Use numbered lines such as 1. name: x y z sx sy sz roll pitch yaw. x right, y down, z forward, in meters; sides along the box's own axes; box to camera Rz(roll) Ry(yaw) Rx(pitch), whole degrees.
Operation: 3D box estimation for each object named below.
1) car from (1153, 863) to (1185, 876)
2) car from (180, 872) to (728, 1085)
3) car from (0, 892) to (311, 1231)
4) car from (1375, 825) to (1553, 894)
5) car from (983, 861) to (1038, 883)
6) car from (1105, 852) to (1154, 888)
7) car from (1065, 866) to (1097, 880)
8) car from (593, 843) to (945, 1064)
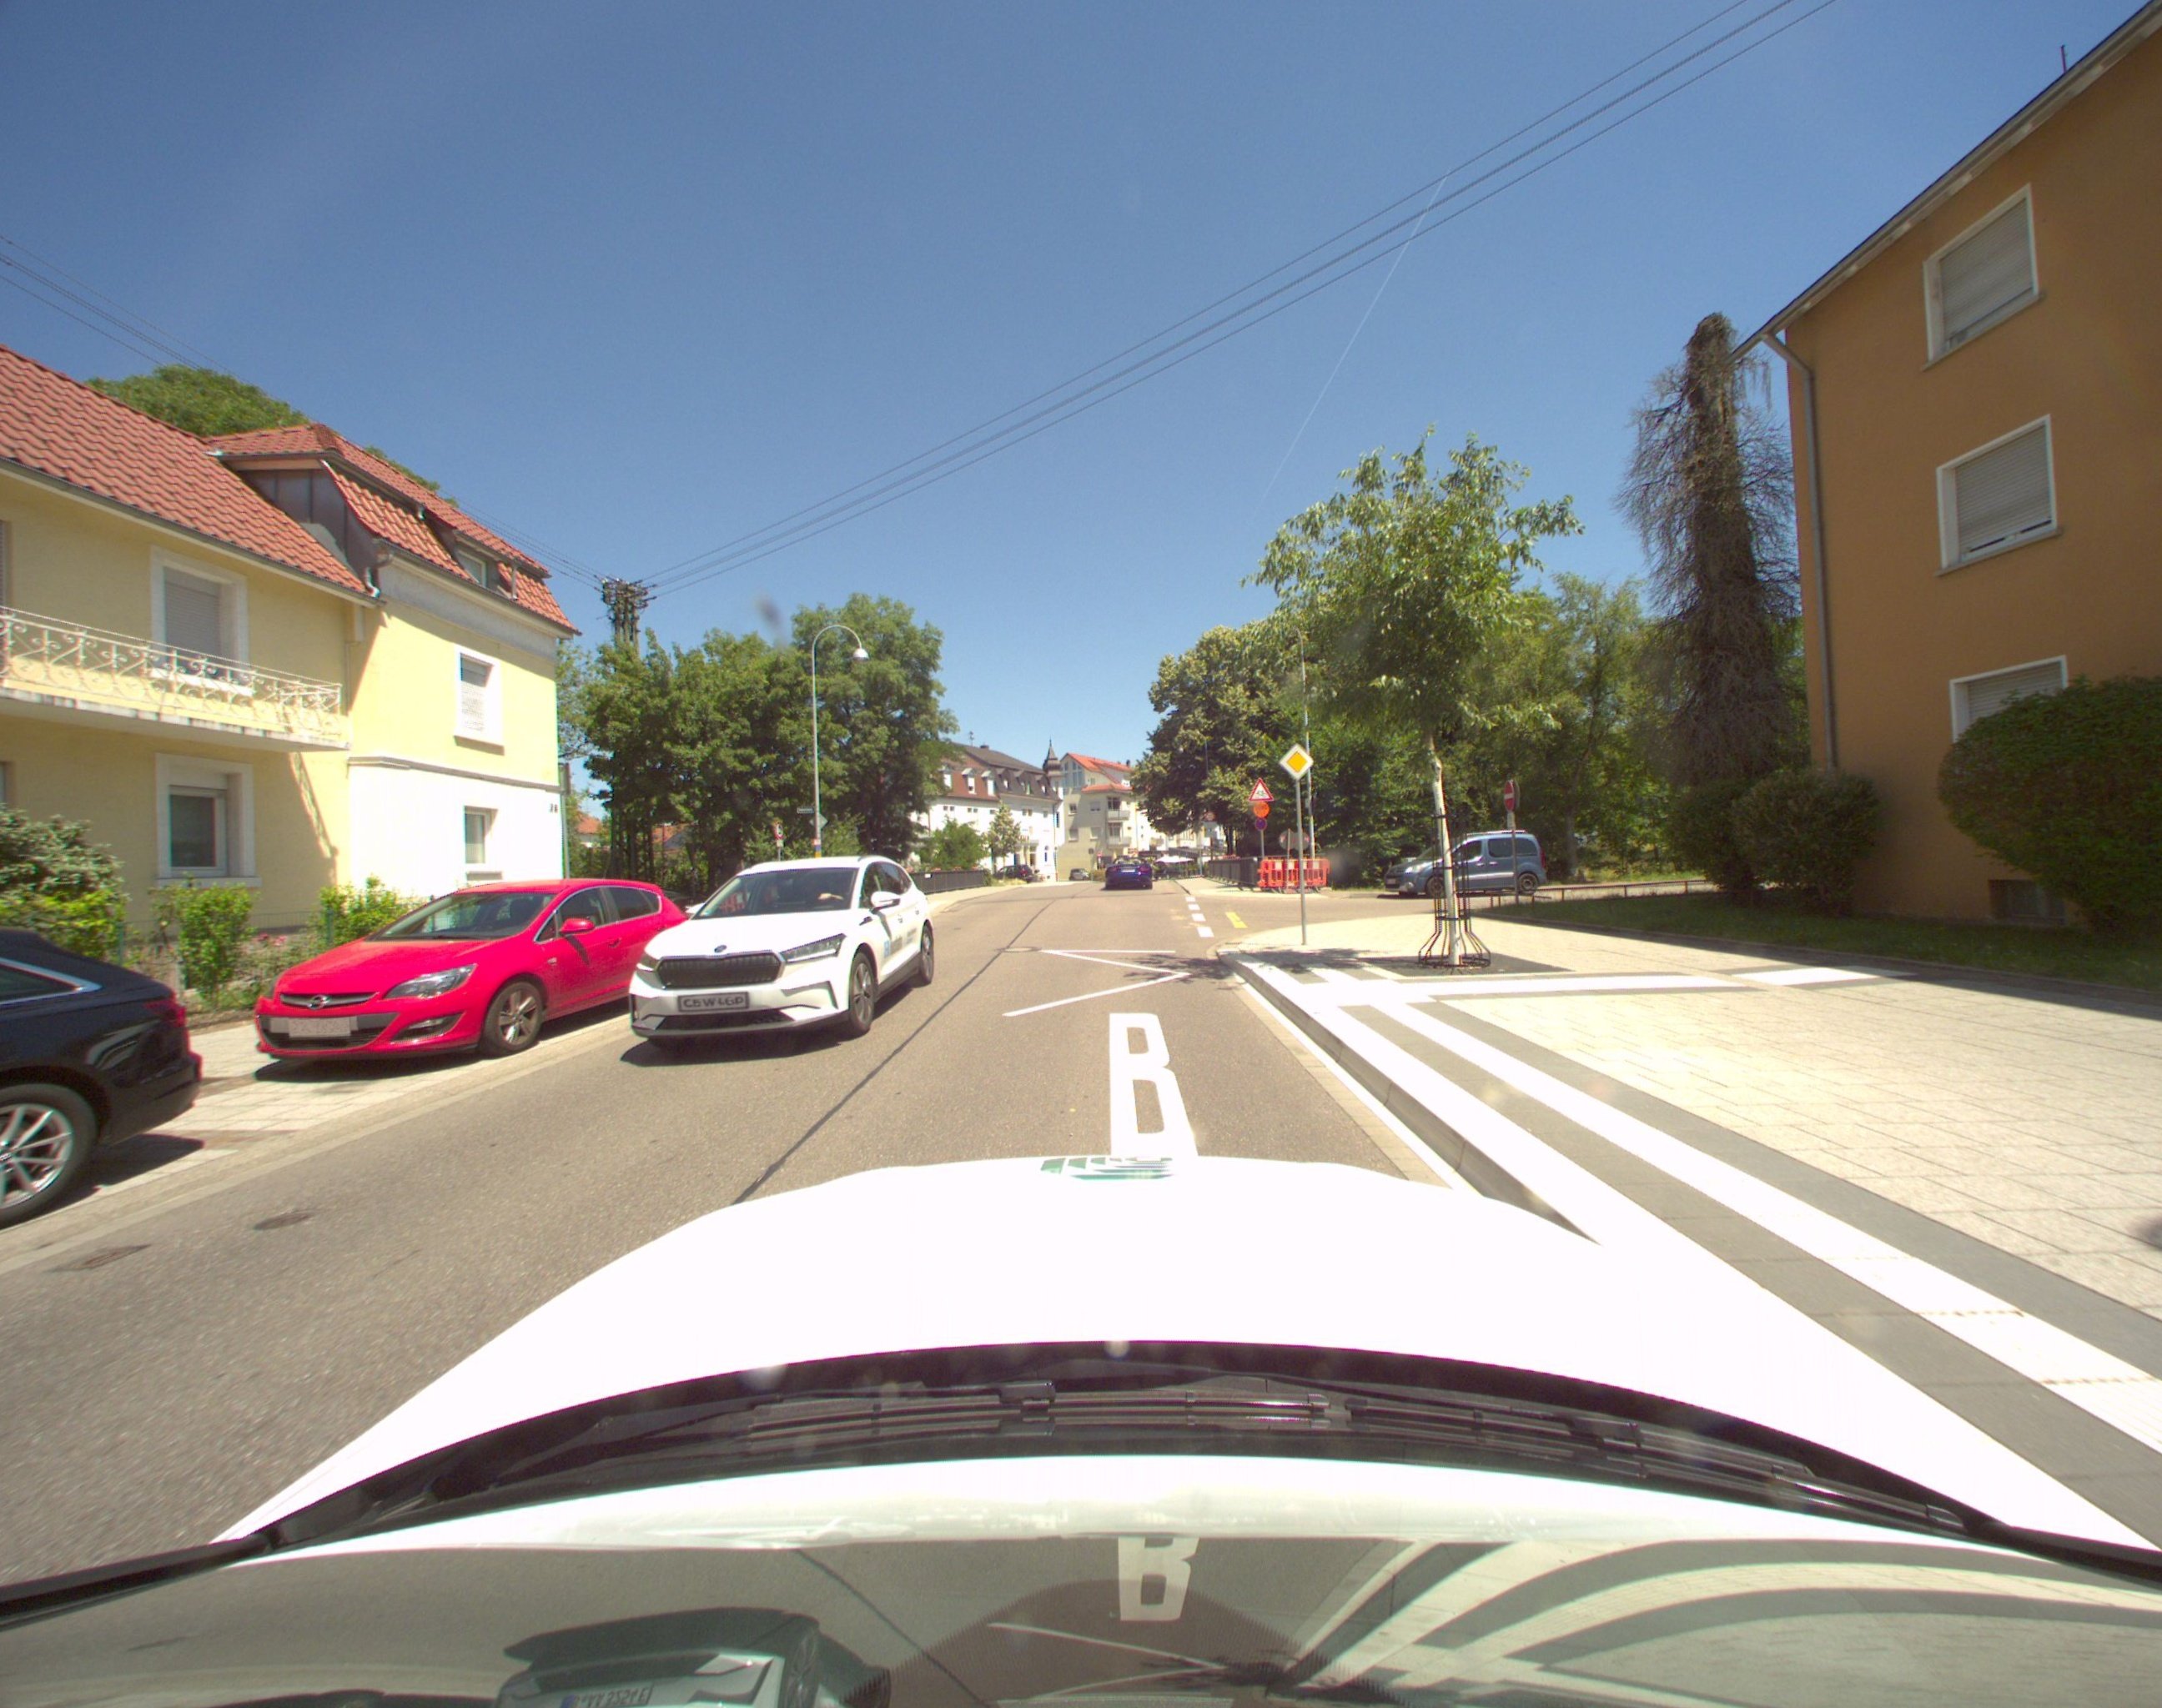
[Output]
1. car: 10.122 1.792 93.706 1.696 1.461 4.155 -1 -1 39
2. car: -5.696 0.975 8.431 1.870 1.479 4.740 0 0 2
3. car: -5.886 1.002 2.511 1.856 1.461 5.309 -1 0 1
4. car: 10.885 0.156 23.292 4.333 1.839 1.746 -1 -1 -7
5. car: -6.055 1.549 69.880 4.142 1.662 1.982 -3 -2 25
6. car: 1.954 0.646 33.801 1.863 1.342 4.598 -1 -1 2
7. car: -0.027 2.215 95.667 3.232 1.458 1.701 -3 -1 25
8. car: -2.799 0.780 8.536 1.871 1.597 4.359 -4 0 0
